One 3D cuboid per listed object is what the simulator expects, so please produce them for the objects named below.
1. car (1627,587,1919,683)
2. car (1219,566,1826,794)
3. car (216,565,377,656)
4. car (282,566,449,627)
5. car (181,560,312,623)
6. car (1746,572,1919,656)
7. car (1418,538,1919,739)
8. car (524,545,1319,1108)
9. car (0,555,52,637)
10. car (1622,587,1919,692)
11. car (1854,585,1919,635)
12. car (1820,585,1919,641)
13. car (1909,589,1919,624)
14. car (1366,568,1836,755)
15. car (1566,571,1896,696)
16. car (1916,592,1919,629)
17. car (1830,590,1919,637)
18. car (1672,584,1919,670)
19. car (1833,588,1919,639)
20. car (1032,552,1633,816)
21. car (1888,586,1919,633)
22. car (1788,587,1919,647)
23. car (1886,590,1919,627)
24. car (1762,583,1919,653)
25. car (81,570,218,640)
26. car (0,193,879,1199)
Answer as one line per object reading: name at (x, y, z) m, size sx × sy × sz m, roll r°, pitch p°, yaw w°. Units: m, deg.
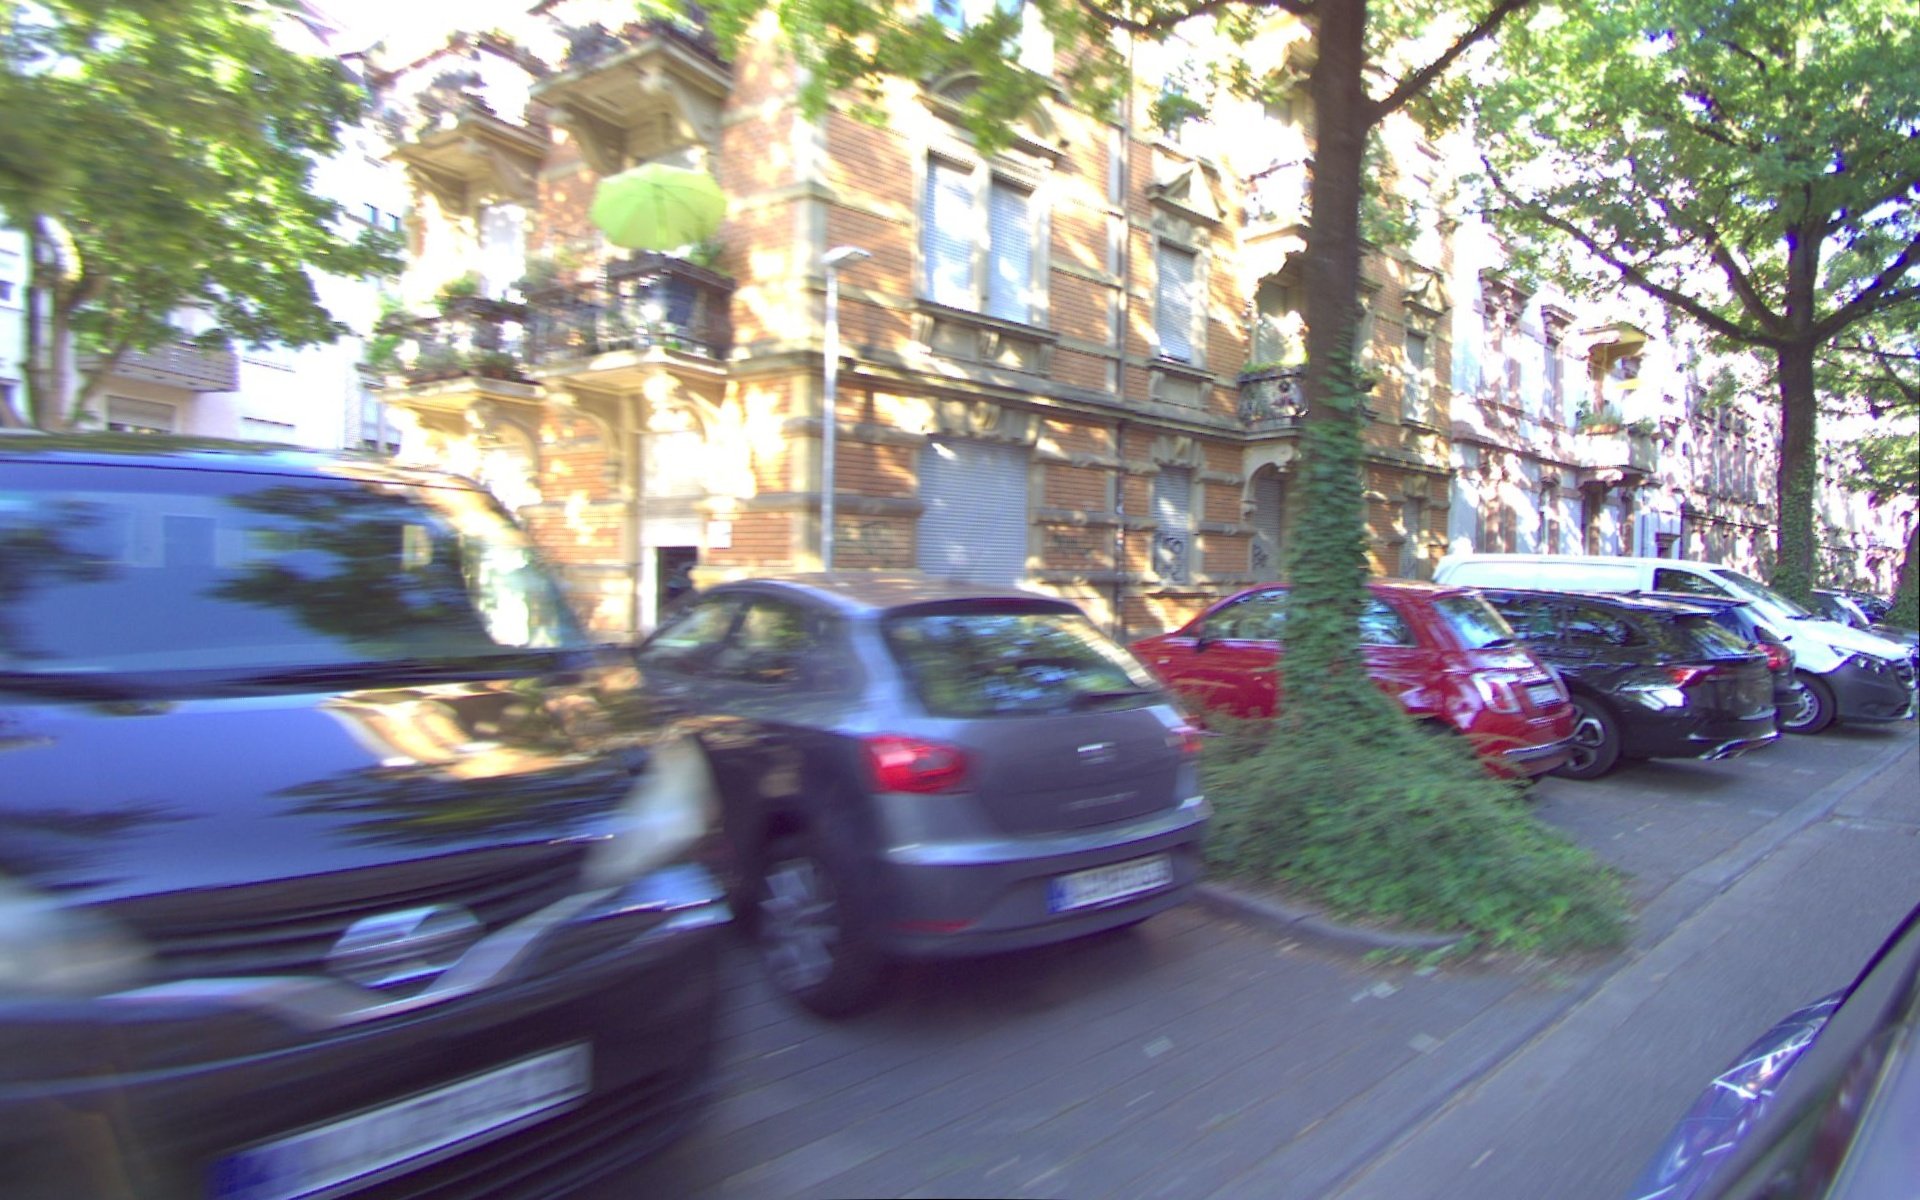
car at (15.764, 0.574, 19.361) m, size 1.898 × 1.521 × 4.669 m, roll 0°, pitch 2°, yaw -40°
car at (4.744, 0.485, 9.119) m, size 1.899 × 1.473 × 4.380 m, roll 0°, pitch 2°, yaw -40°
car at (-12.024, 0.106, 18.209) m, size 1.820 × 1.389 × 4.404 m, roll 0°, pitch 2°, yaw -41°
car at (-17.091, -0.132, 29.353) m, size 1.838 × 1.602 × 4.230 m, roll 1°, pitch 1°, yaw 12°
car at (-17.640, -0.260, 24.947) m, size 3.985 × 1.389 × 1.824 m, roll 3°, pitch 2°, yaw 42°
car at (21.439, 0.333, 23.600) m, size 1.850 × 1.723 × 4.651 m, roll 0°, pitch 4°, yaw -44°
car at (8.790, 0.263, 12.764) m, size 2.121 × 1.963 × 5.103 m, roll -4°, pitch 5°, yaw -40°
car at (-0.607, 0.521, 4.802) m, size 1.854 × 1.466 × 4.000 m, roll 0°, pitch 2°, yaw -36°
car at (-19.893, -0.076, 18.830) m, size 1.838 × 1.602 × 4.230 m, roll 1°, pitch 1°, yaw 12°
car at (14.273, 0.589, 17.736) m, size 1.778 × 1.521 × 4.115 m, roll 0°, pitch 2°, yaw -39°
car at (34.231, 0.367, 35.196) m, size 1.859 × 1.676 × 4.484 m, roll -2°, pitch 3°, yaw -41°
car at (27.294, 0.434, 28.823) m, size 1.648 × 1.404 × 3.997 m, roll 0°, pitch 5°, yaw -41°
car at (43.685, 0.407, 43.408) m, size 1.903 × 1.472 × 4.154 m, roll 0°, pitch 3°, yaw -41°
car at (6.723, 0.493, 10.868) m, size 3.987 × 1.492 × 1.755 m, roll 4°, pitch 3°, yaw 42°
car at (12.012, 0.419, 15.952) m, size 1.695 × 1.669 × 3.890 m, roll 0°, pitch 2°, yaw -42°
car at (40.254, 0.484, 39.581) m, size 1.657 × 1.474 × 3.996 m, roll 0°, pitch 2°, yaw -39°
car at (32.056, 0.458, 33.922) m, size 1.768 × 1.488 × 4.110 m, roll 1°, pitch 1°, yaw -39°
car at (18.035, 0.509, 21.334) m, size 1.964 × 1.548 × 4.564 m, roll 0°, pitch 2°, yaw -39°
car at (30.376, 0.441, 31.848) m, size 1.771 × 1.555 × 4.227 m, roll 1°, pitch 1°, yaw -43°
car at (2.651, 0.411, 8.008) m, size 1.810 × 1.516 × 4.091 m, roll 0°, pitch 2°, yaw -40°
car at (36.781, 0.394, 36.614) m, size 1.857 × 1.676 × 4.487 m, roll -2°, pitch 3°, yaw -38°
car at (25.067, 0.461, 27.334) m, size 1.753 × 1.480 × 3.992 m, roll 0°, pitch 2°, yaw -43°
car at (41.443, 0.410, 42.260) m, size 1.659 × 1.513 × 3.992 m, roll 0°, pitch 2°, yaw -43°
car at (23.085, 0.425, 25.729) m, size 1.753 × 1.610 × 3.992 m, roll 0°, pitch 2°, yaw -43°
car at (-18.498, 0.065, 23.035) m, size 3.985 × 1.389 × 1.824 m, roll 3°, pitch 2°, yaw 42°
car at (-2.358, 0.342, 3.273) m, size 1.907 × 1.908 × 4.273 m, roll 0°, pitch 2°, yaw -44°
